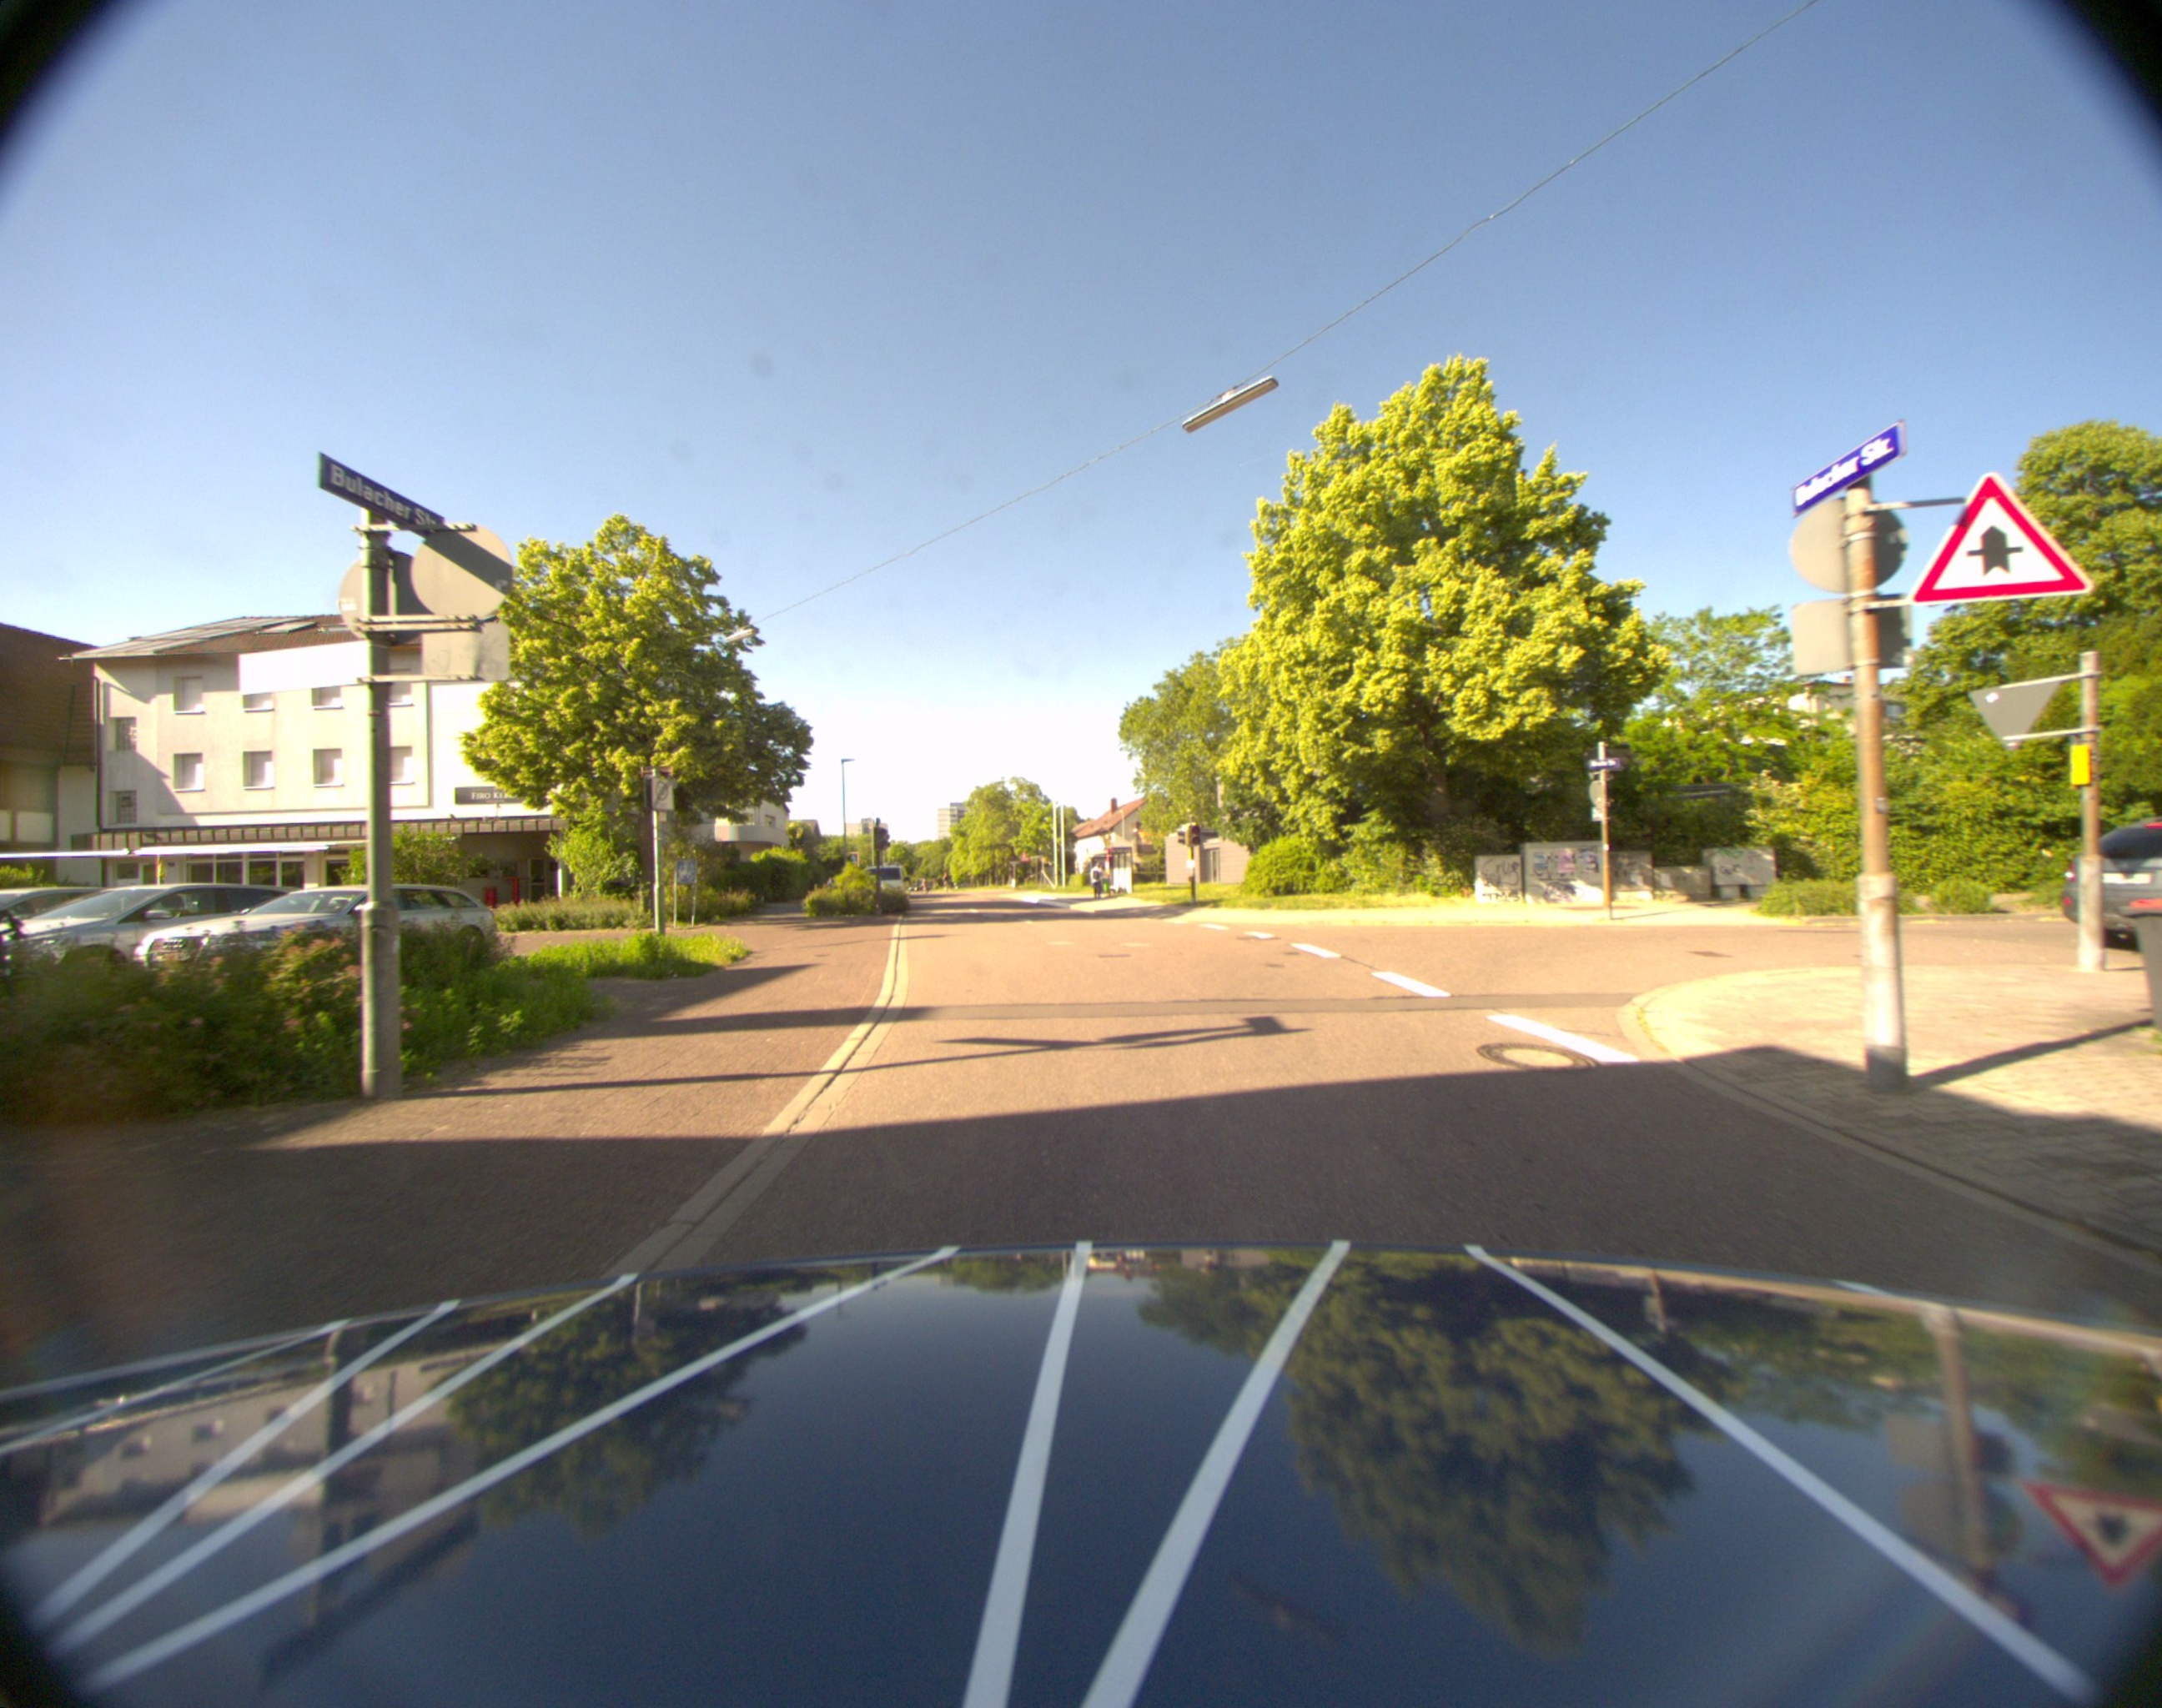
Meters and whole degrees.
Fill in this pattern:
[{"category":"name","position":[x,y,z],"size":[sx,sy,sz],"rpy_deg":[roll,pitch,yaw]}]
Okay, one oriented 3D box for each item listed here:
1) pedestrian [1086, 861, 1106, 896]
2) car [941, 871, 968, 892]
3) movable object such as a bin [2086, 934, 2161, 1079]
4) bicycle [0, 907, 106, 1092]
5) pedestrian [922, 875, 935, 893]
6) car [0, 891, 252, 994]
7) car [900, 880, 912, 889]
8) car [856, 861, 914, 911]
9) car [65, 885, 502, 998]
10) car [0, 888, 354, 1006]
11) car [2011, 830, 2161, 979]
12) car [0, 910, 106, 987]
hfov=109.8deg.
[{"category":"pedestrian","position":[0.786,1.280,39.970],"size":[0.716,1.792,0.772],"rpy_deg":[-2,1,28]},{"category":"car","position":[-12.063,2.572,72.229],"size":[1.968,1.907,4.572],"rpy_deg":[-1,-1,-16]},{"category":"movable object such as a bin","position":[7.318,1.005,4.991],"size":[0.557,0.919,0.626],"rpy_deg":[-1,-2,7]},{"category":"bicycle","position":[-8.493,1.044,5.550],"size":[1.742,1.276,0.700],"rpy_deg":[0,-1,-3]},{"category":"pedestrian","position":[-13.580,2.658,67.669],"size":[0.835,1.577,0.632],"rpy_deg":[3,0,5]},{"category":"car","position":[-17.021,1.409,12.480],"size":[1.711,1.541,4.408],"rpy_deg":[-1,-3,6]},{"category":"car","position":[-32.183,5.550,139.705],"size":[2.000,1.587,4.575],"rpy_deg":[0,-2,-10]},{"category":"car","position":[-8.569,1.373,33.638],"size":[2.000,2.066,4.575],"rpy_deg":[-1,-1,-9]},{"category":"car","position":[-12.106,1.273,12.208],"size":[1.999,1.412,4.804],"rpy_deg":[-1,-3,-1]},{"category":"car","position":[-14.468,1.315,11.835],"size":[1.711,1.507,4.408],"rpy_deg":[0,-3,6]},{"category":"car","position":[14.587,0.541,9.089],"size":[4.229,1.715,1.946],"rpy_deg":[-1,0,6]},{"category":"car","position":[-19.996,1.669,12.812],"size":[1.648,1.341,4.117],"rpy_deg":[-2,-3,4]}]
